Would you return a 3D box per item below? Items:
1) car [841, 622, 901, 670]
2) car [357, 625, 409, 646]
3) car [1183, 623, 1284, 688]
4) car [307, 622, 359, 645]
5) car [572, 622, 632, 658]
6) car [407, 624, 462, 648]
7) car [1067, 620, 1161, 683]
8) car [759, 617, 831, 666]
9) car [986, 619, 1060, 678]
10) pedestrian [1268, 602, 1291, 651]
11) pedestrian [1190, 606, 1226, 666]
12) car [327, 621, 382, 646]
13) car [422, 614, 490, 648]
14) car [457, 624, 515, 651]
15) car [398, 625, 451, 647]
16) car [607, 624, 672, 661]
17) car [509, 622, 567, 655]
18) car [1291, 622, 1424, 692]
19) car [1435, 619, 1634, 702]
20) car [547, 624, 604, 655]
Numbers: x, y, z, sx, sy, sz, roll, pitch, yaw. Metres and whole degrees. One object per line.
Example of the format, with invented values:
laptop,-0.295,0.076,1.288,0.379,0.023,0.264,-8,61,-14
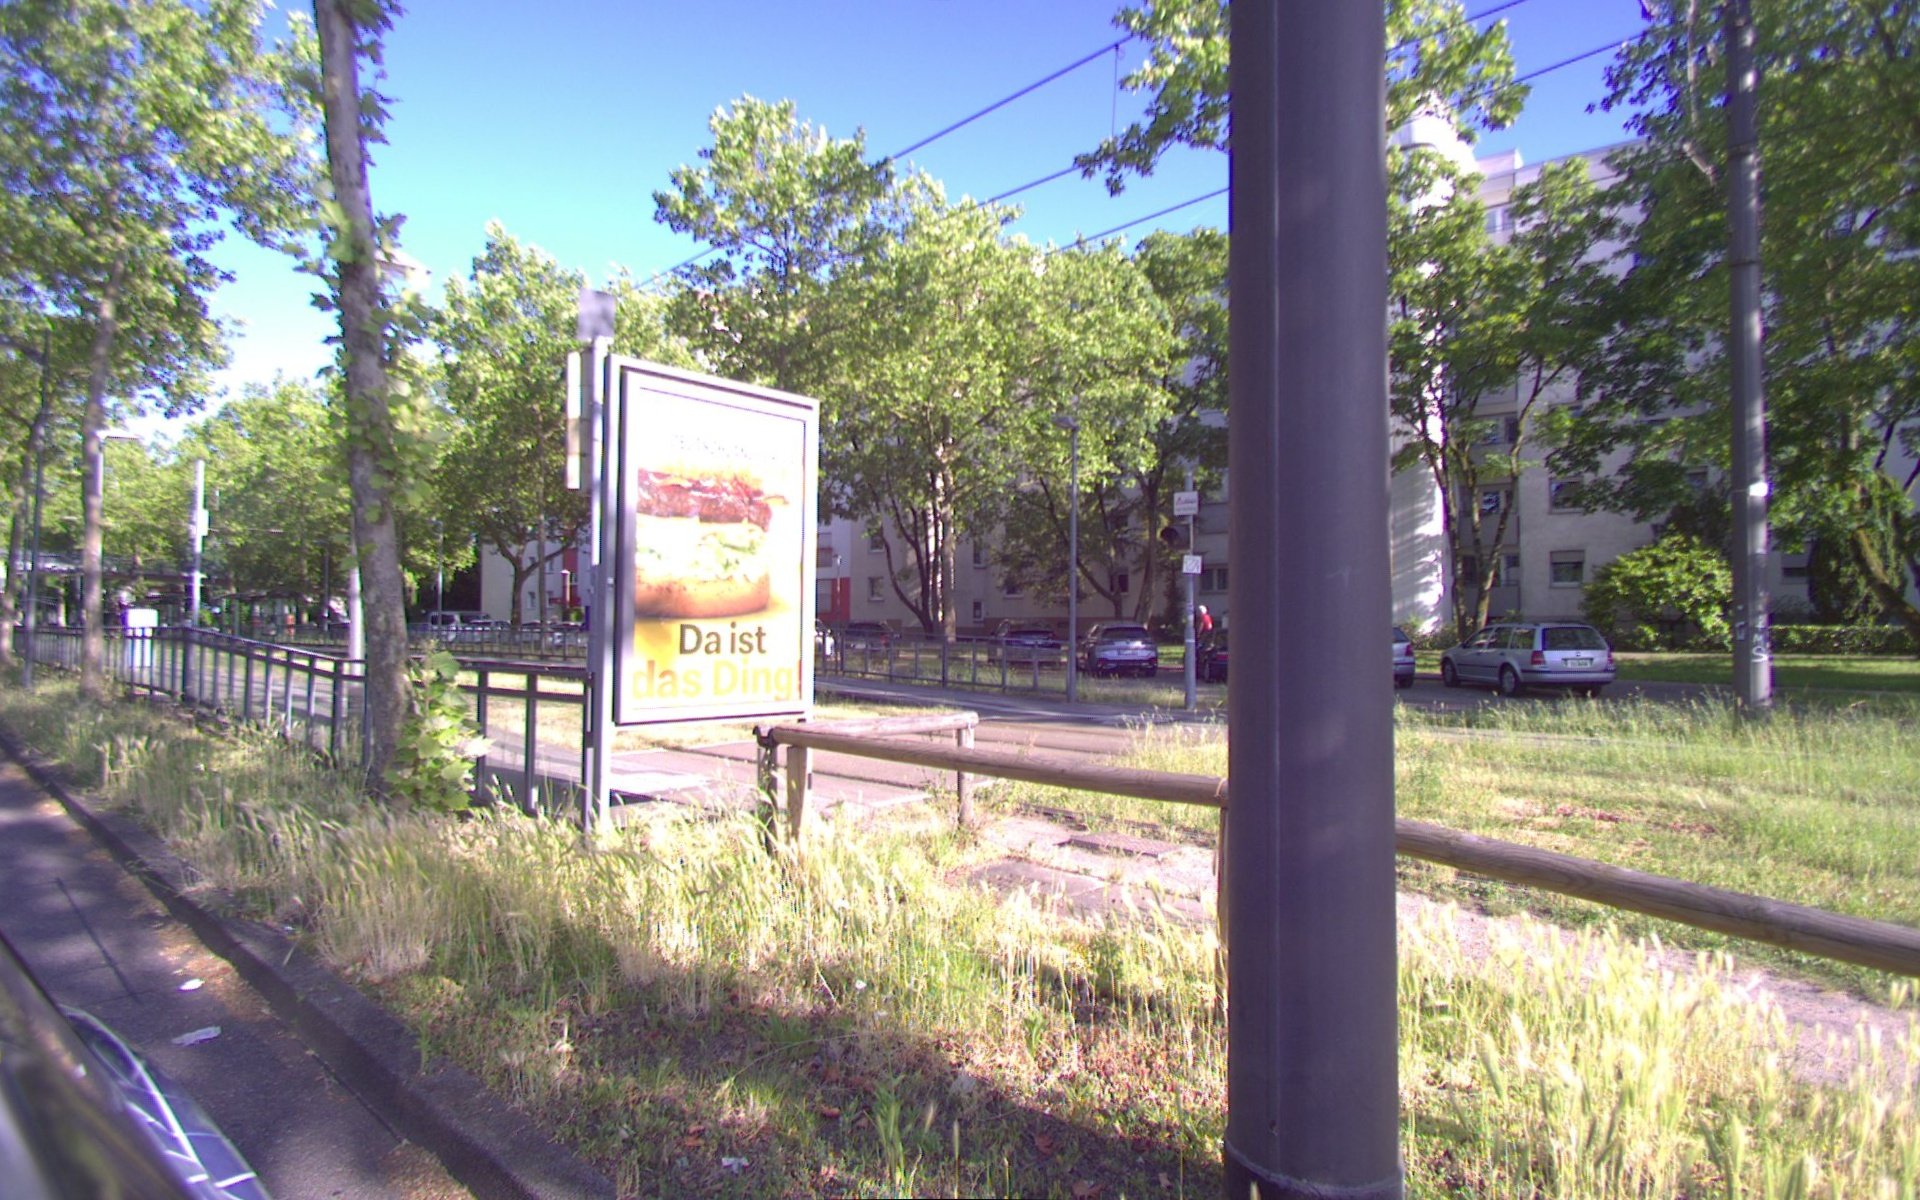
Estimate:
car,-3.007,1.543,34.670,1.538,1.439,3.761,-1,0,3
car,-37.647,2.318,66.063,1.459,1.330,3.488,0,-1,-1
car,6.746,1.334,25.329,1.572,1.360,3.922,-1,0,3
car,-44.895,2.374,72.494,1.578,1.538,3.737,0,-1,-3
car,-16.588,1.830,47.008,1.445,1.519,3.393,-1,0,3
car,-30.814,2.079,59.454,1.459,1.354,3.488,0,-1,-1
car,4.121,1.348,27.674,1.650,1.469,4.004,-1,0,-4
car,-5.998,1.487,37.219,1.791,1.607,3.997,-1,0,3
car,1.776,1.368,29.738,1.669,1.499,4.003,-1,0,-4
pedestrian,11.598,0.969,36.780,0.634,1.770,0.516,-1,-2,39
pedestrian,7.369,1.061,30.093,0.755,1.770,0.752,-2,-2,41
car,-40.685,2.226,68.061,1.578,1.582,3.830,0,-1,-3
car,-28.396,1.749,57.181,1.843,1.826,4.047,0,-1,0
car,-25.890,2.010,55.378,1.605,1.414,3.488,0,-1,-1
car,-33.049,2.199,62.557,1.459,1.311,3.488,0,-1,-1
car,-14.032,1.843,44.485,1.470,1.425,3.880,-1,0,3
car,-21.186,1.931,50.964,1.539,1.436,3.489,-3,0,-2
car,9.122,1.264,23.537,1.553,1.431,3.620,-1,-1,-1
car,11.544,1.156,20.684,1.685,1.454,3.978,-1,0,-2
car,-18.763,1.904,49.512,1.459,1.339,3.488,-2,0,-1
